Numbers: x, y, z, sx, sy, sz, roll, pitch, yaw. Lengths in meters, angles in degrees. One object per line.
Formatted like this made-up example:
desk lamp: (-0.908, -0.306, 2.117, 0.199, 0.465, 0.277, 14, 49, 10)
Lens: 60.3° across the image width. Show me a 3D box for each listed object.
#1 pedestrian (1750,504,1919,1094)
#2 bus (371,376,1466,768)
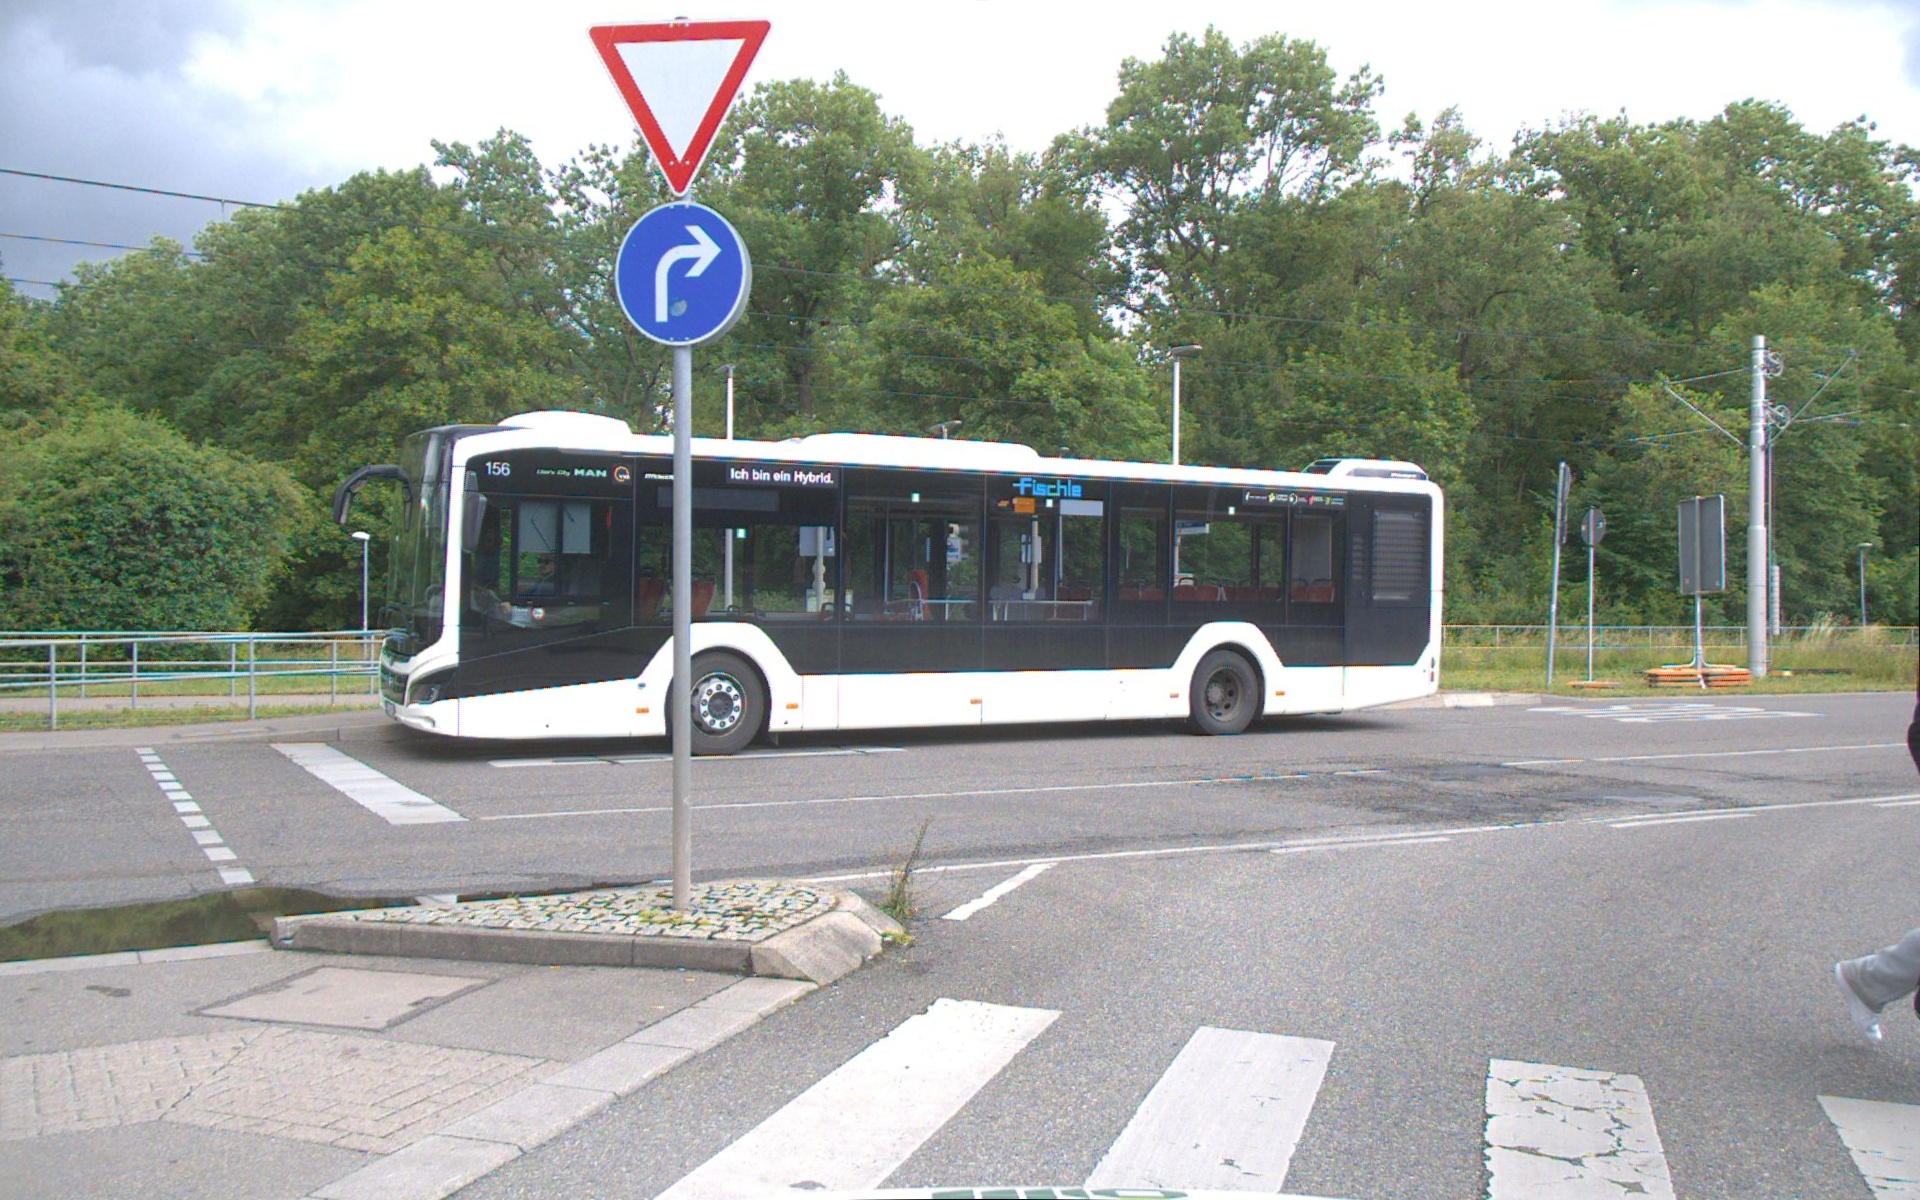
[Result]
pedestrian: (3.300, 0.604, 5.297, 0.938, 1.777, 1.058, 1, -1, -15)
bus: (0.145, -0.181, 17.879, 12.025, 3.259, 2.649, 1, -1, -29)
